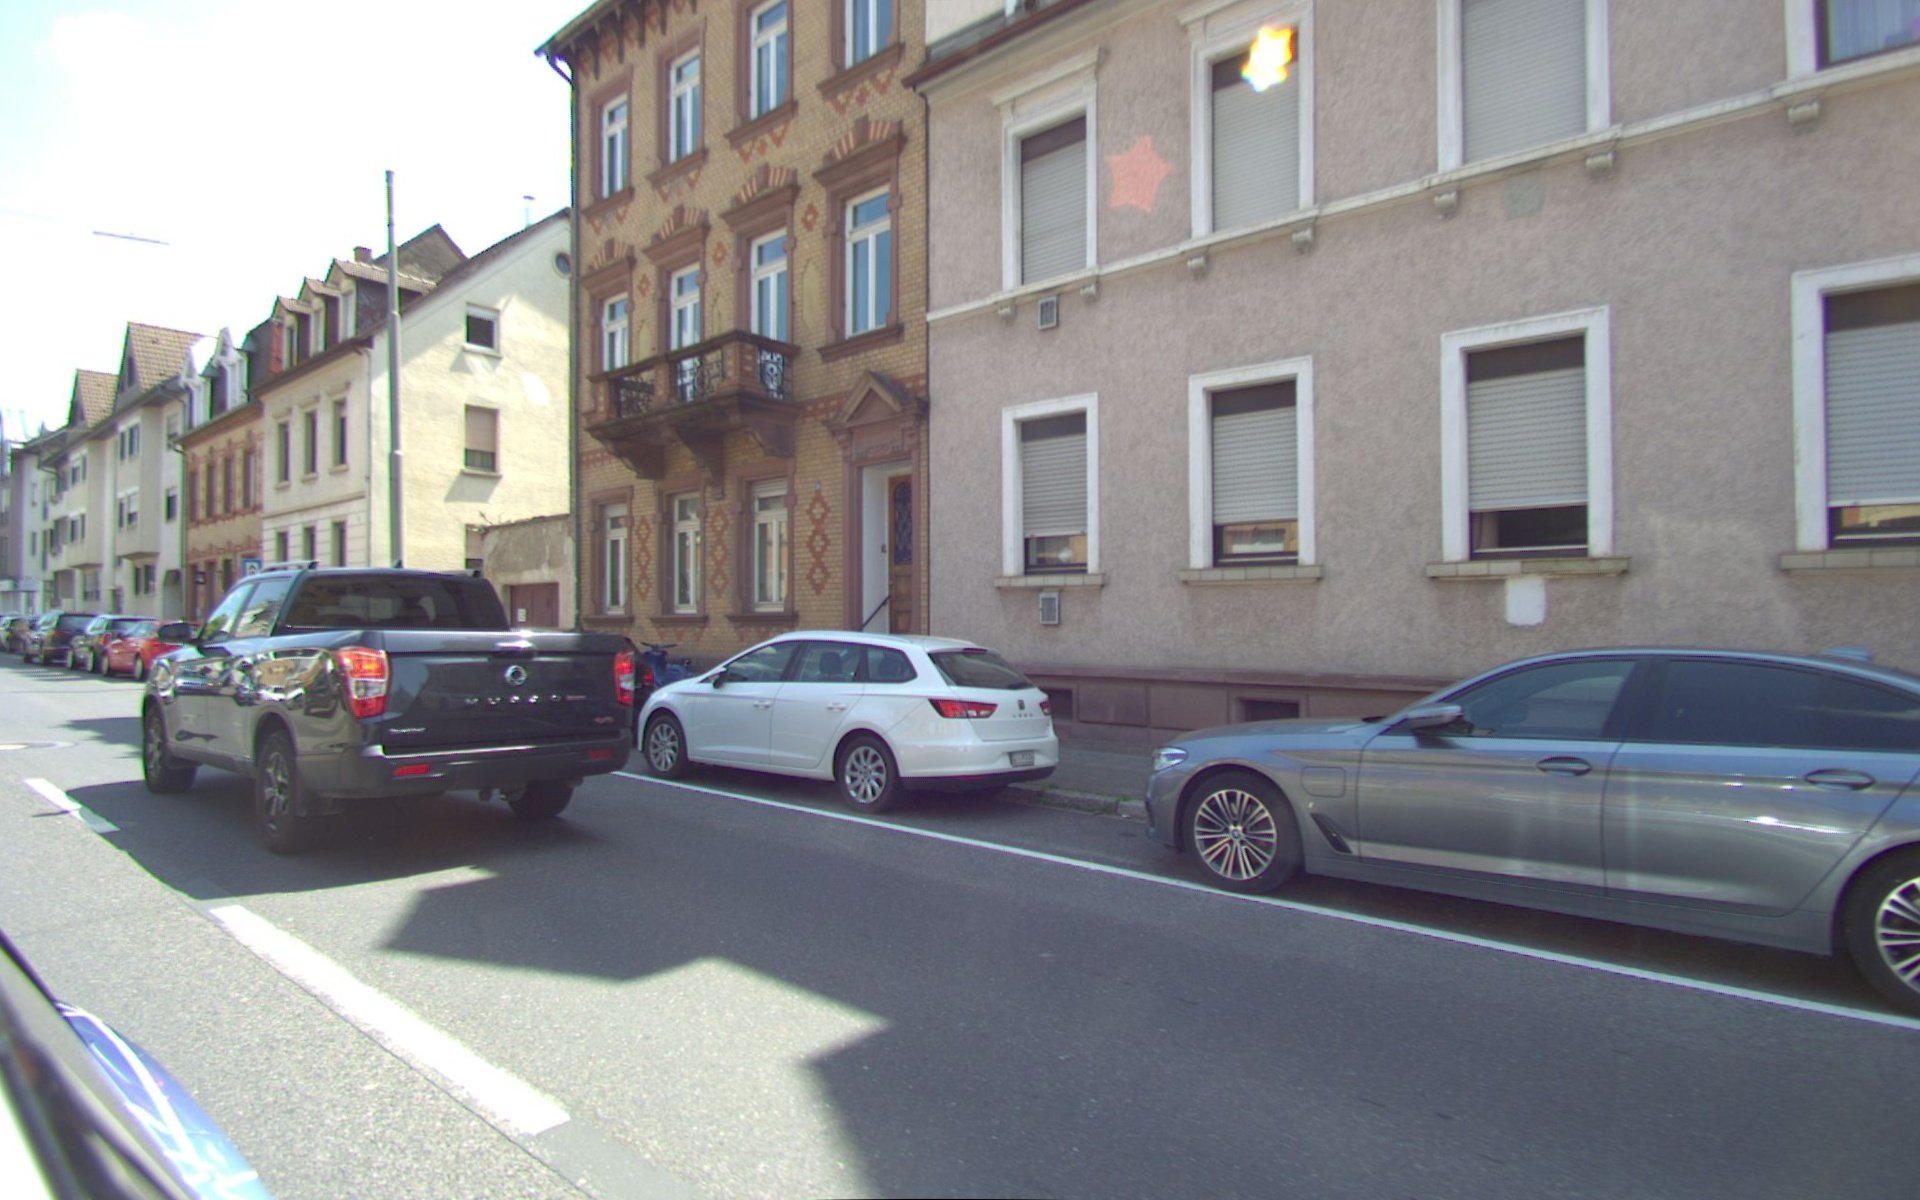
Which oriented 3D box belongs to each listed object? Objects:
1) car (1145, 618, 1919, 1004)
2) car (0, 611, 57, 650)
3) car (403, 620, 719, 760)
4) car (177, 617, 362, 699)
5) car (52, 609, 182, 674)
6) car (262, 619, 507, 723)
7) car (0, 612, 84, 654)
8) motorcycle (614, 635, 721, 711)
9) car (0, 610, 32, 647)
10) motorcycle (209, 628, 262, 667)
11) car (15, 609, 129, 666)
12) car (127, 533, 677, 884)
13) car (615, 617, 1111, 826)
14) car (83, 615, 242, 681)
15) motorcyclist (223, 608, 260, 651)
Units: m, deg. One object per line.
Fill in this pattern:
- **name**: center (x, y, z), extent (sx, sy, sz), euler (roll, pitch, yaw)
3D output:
- **car**: center (3.471, 0.871, 5.207), extent (4.639, 1.433, 1.822), euler (0, -3, 38)
- **car**: center (-40.385, 1.276, 43.311), extent (4.380, 1.499, 1.822), euler (0, 1, 38)
- **car**: center (-5.221, 1.058, 12.943), extent (4.500, 1.433, 1.820), euler (0, -5, 41)
- **car**: center (-13.982, 1.118, 20.408), extent (4.497, 1.433, 1.821), euler (0, -3, 39)
- **car**: center (-23.256, 1.115, 27.875), extent (4.497, 1.609, 1.821), euler (0, -4, 39)
- **car**: center (-9.488, 1.116, 16.553), extent (4.496, 1.433, 1.822), euler (0, -5, 38)
- **car**: center (-36.429, 1.269, 39.976), extent (4.495, 1.499, 1.823), euler (0, 1, 37)
- **motorcycle**: center (-4.584, 1.103, 15.794), extent (1.936, 1.061, 0.705), euler (0, 0, 43)
- **car**: center (-44.977, 1.314, 47.102), extent (4.379, 1.607, 1.823), euler (0, 1, 37)
- **motorcycle**: center (-21.503, 1.394, 30.029), extent (1.870, 1.086, 0.837), euler (0, 0, 39)
- **car**: center (-27.220, 1.127, 30.975), extent (4.497, 1.609, 1.821), euler (0, -3, 39)
- **car**: center (-4.476, 0.604, 7.663), extent (5.145, 1.806, 1.973), euler (-1, -2, 41)
- **car**: center (-1.045, 0.931, 9.301), extent (4.496, 1.433, 1.822), euler (0, -3, 38)
- **car**: center (-19.365, 1.142, 24.520), extent (4.493, 1.433, 1.823), euler (0, -4, 36)
- **motorcyclist**: center (-21.401, 0.874, 30.135), extent (0.711, 1.257, 0.711), euler (-1, -1, 38)
